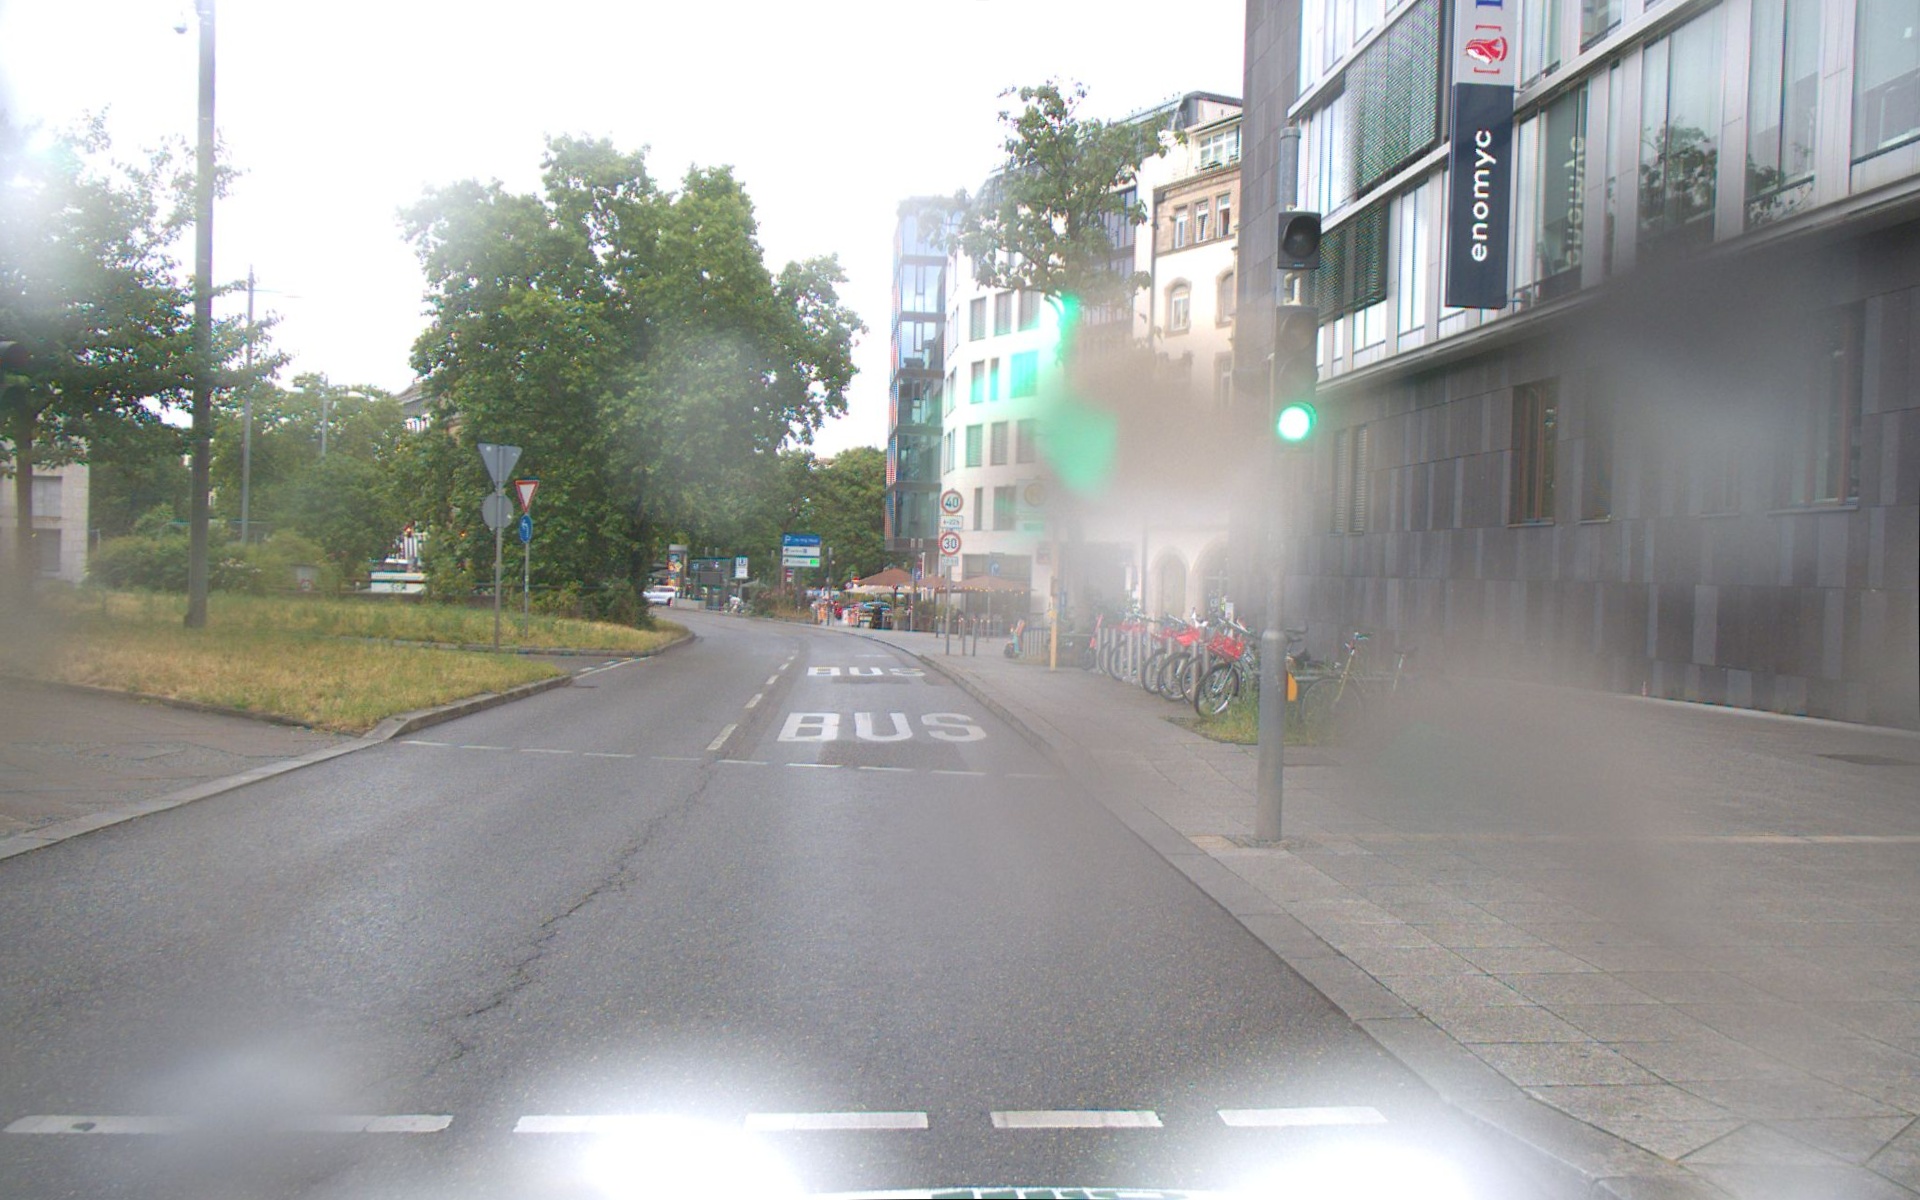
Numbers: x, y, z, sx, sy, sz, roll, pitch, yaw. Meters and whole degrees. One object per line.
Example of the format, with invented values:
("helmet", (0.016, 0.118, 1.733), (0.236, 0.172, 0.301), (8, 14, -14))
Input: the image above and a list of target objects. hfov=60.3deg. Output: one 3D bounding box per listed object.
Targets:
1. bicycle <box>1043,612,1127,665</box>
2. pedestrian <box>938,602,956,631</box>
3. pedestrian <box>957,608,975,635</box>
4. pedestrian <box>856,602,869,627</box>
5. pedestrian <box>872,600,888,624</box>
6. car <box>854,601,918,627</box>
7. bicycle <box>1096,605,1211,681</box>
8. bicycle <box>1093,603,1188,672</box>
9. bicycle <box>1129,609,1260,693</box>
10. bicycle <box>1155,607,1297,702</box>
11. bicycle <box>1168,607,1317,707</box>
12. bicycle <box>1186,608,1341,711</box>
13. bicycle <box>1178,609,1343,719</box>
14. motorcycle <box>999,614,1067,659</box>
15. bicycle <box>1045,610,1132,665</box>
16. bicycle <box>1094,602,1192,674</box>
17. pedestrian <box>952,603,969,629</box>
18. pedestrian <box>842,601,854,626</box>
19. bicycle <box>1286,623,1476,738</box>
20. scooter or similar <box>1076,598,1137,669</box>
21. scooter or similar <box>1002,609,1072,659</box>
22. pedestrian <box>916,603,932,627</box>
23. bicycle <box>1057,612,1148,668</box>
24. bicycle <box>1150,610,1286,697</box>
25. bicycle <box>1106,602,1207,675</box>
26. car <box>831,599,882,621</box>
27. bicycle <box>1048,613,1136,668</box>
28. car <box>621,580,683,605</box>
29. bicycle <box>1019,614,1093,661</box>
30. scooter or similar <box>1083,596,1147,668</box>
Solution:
("bicycle", (2.865, 0.887, 37.910), (1.762, 1.127, 0.668), (3, -1, -11))
("pedestrian", (-0.636, 0.814, 80.743), (0.759, 1.349, 0.634), (4, -1, -9))
("pedestrian", (0.307, 1.100, 86.077), (0.620, 1.349, 0.630), (4, -1, -29))
("pedestrian", (-5.516, 0.818, 93.718), (0.595, 1.349, 0.566), (4, -1, -9))
("pedestrian", (-4.634, 0.707, 95.660), (0.802, 1.349, 0.634), (4, -1, -9))
("car", (-5.579, 1.037, 124.344), (4.643, 1.720, 2.003), (3, 0, -5))
("bicycle", (3.092, 0.686, 26.468), (1.675, 1.160, 0.687), (2, -1, -11))
("bicycle", (3.149, 0.662, 28.898), (1.507, 1.160, 0.661), (2, -1, -11))
("bicycle", (3.307, 0.714, 23.362), (1.698, 1.160, 0.687), (1, 0, -11))
("bicycle", (3.471, 0.706, 21.649), (1.698, 1.204, 0.687), (1, 0, -11))
("bicycle", (3.533, 0.708, 20.734), (1.698, 1.204, 0.687), (1, 0, -11))
("bicycle", (3.640, 0.713, 19.905), (1.698, 1.204, 0.687), (1, 0, -11))
("bicycle", (3.393, 0.711, 18.698), (1.698, 1.204, 0.687), (1, 0, -11))
("motorcycle", (2.014, 1.000, 45.591), (1.759, 1.159, 0.594), (3, -1, -10))
("bicycle", (2.795, 0.815, 35.955), (1.761, 1.087, 0.555), (3, -1, -10))
("bicycle", (3.098, 0.645, 28.072), (1.507, 1.160, 0.687), (2, -1, -11))
("pedestrian", (0.018, 0.848, 87.364), (0.620, 1.349, 0.630), (4, -1, -29))
("pedestrian", (-6.331, 0.751, 93.569), (0.595, 1.349, 0.566), (4, -1, -9))
("bicycle", (4.179, 0.788, 16.444), (1.698, 1.089, 0.687), (1, 0, -11))
("scooter or similar", (2.691, 0.622, 30.385), (1.041, 1.280, 0.302), (2, -1, -12))
("scooter or similar", (2.076, 0.920, 44.623), (1.759, 1.265, 0.594), (3, -2, -10))
("pedestrian", (-2.085, 0.878, 96.152), (0.802, 1.349, 0.634), (4, -1, -9))
("bicycle", (2.952, 0.832, 34.360), (1.761, 1.087, 0.555), (3, -1, -10))
("bicycle", (3.509, 0.727, 22.569), (1.698, 1.160, 0.687), (1, 0, -11))
("bicycle", (3.241, 0.633, 27.304), (1.507, 1.160, 0.687), (2, -1, -11))
("car", (-8.233, 0.774, 131.566), (3.928, 1.536, 1.790), (3, 0, 41))
("bicycle", (2.806, 0.864, 35.162), (1.761, 1.087, 0.555), (3, -1, -10))
("car", (-23.615, -0.574, 126.867), (4.239, 1.695, 1.954), (2, -1, 8))
("bicycle", (2.475, 0.965, 42.561), (1.762, 1.127, 0.668), (3, -1, -11))
("scooter or similar", (2.816, 0.584, 30.034), (1.086, 1.280, 0.302), (2, -1, -12))
